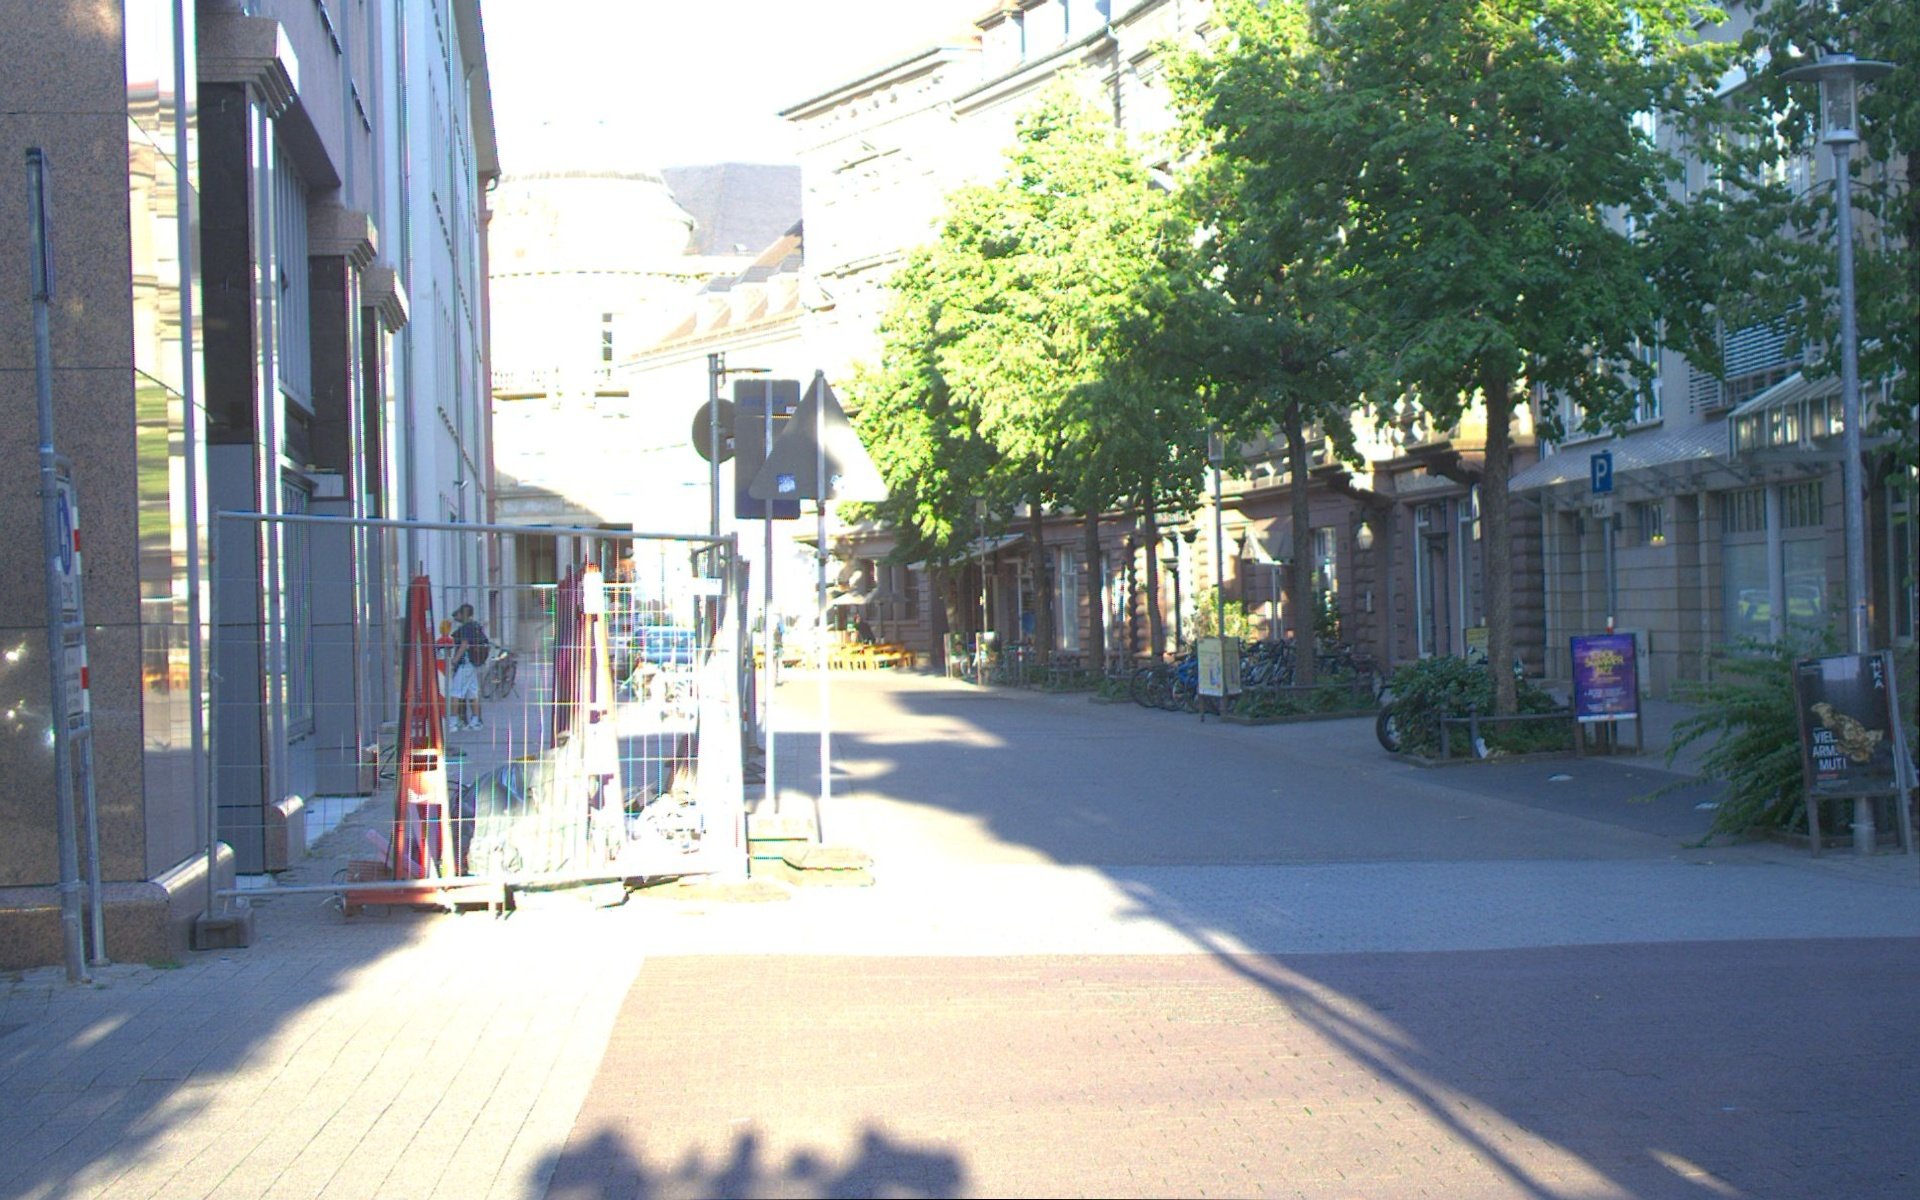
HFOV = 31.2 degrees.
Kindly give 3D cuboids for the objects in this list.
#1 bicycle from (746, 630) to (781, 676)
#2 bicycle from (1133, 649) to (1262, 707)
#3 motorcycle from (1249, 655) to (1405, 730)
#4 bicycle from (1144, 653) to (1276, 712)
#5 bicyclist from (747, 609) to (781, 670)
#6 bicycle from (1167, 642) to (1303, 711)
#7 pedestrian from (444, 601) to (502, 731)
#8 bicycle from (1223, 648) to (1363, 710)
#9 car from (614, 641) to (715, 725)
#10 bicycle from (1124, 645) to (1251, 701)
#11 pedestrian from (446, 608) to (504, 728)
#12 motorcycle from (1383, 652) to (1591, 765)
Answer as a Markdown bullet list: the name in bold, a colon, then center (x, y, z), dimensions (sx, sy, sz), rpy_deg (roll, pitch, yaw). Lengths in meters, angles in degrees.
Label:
- **bicycle**: center (-4.820, 1.310, 84.249), dimensions (0.588, 1.091, 2.160), rpy_deg (-2, -1, -9)
- **bicycle**: center (4.169, 1.370, 60.371), dimensions (2.152, 0.923, 0.591), rpy_deg (-2, -1, -11)
- **motorcycle**: center (5.775, 1.448, 54.034), dimensions (2.470, 1.091, 0.591), rpy_deg (-2, -1, -26)
- **bicycle**: center (4.305, 1.420, 59.249), dimensions (2.152, 0.923, 0.591), rpy_deg (-2, -1, -11)
- **bicyclist**: center (-4.792, 0.972, 84.132), dimensions (0.721, 1.463, 0.718), rpy_deg (-2, 0, -9)
- **bicycle**: center (4.553, 1.268, 56.912), dimensions (2.154, 1.057, 0.590), rpy_deg (-2, -1, 10)
- **pedestrian**: center (-6.709, 0.904, 47.373), dimensions (0.654, 1.758, 0.634), rpy_deg (-2, -1, 1)
- **bicycle**: center (5.346, 1.269, 55.164), dimensions (2.152, 0.923, 0.591), rpy_deg (-2, -1, -19)
- **car**: center (-6.286, 1.739, 72.822), dimensions (1.841, 1.678, 3.645), rpy_deg (-2, -1, -9)
- **bicycle**: center (4.065, 1.303, 61.401), dimensions (2.152, 0.923, 0.591), rpy_deg (-2, -1, -11)
- **pedestrian**: center (-6.782, 0.942, 48.078), dimensions (0.654, 1.646, 0.634), rpy_deg (-2, -1, 1)
- **motorcycle**: center (5.771, 1.186, 37.651), dimensions (2.152, 1.147, 0.494), rpy_deg (-2, -1, -6)
